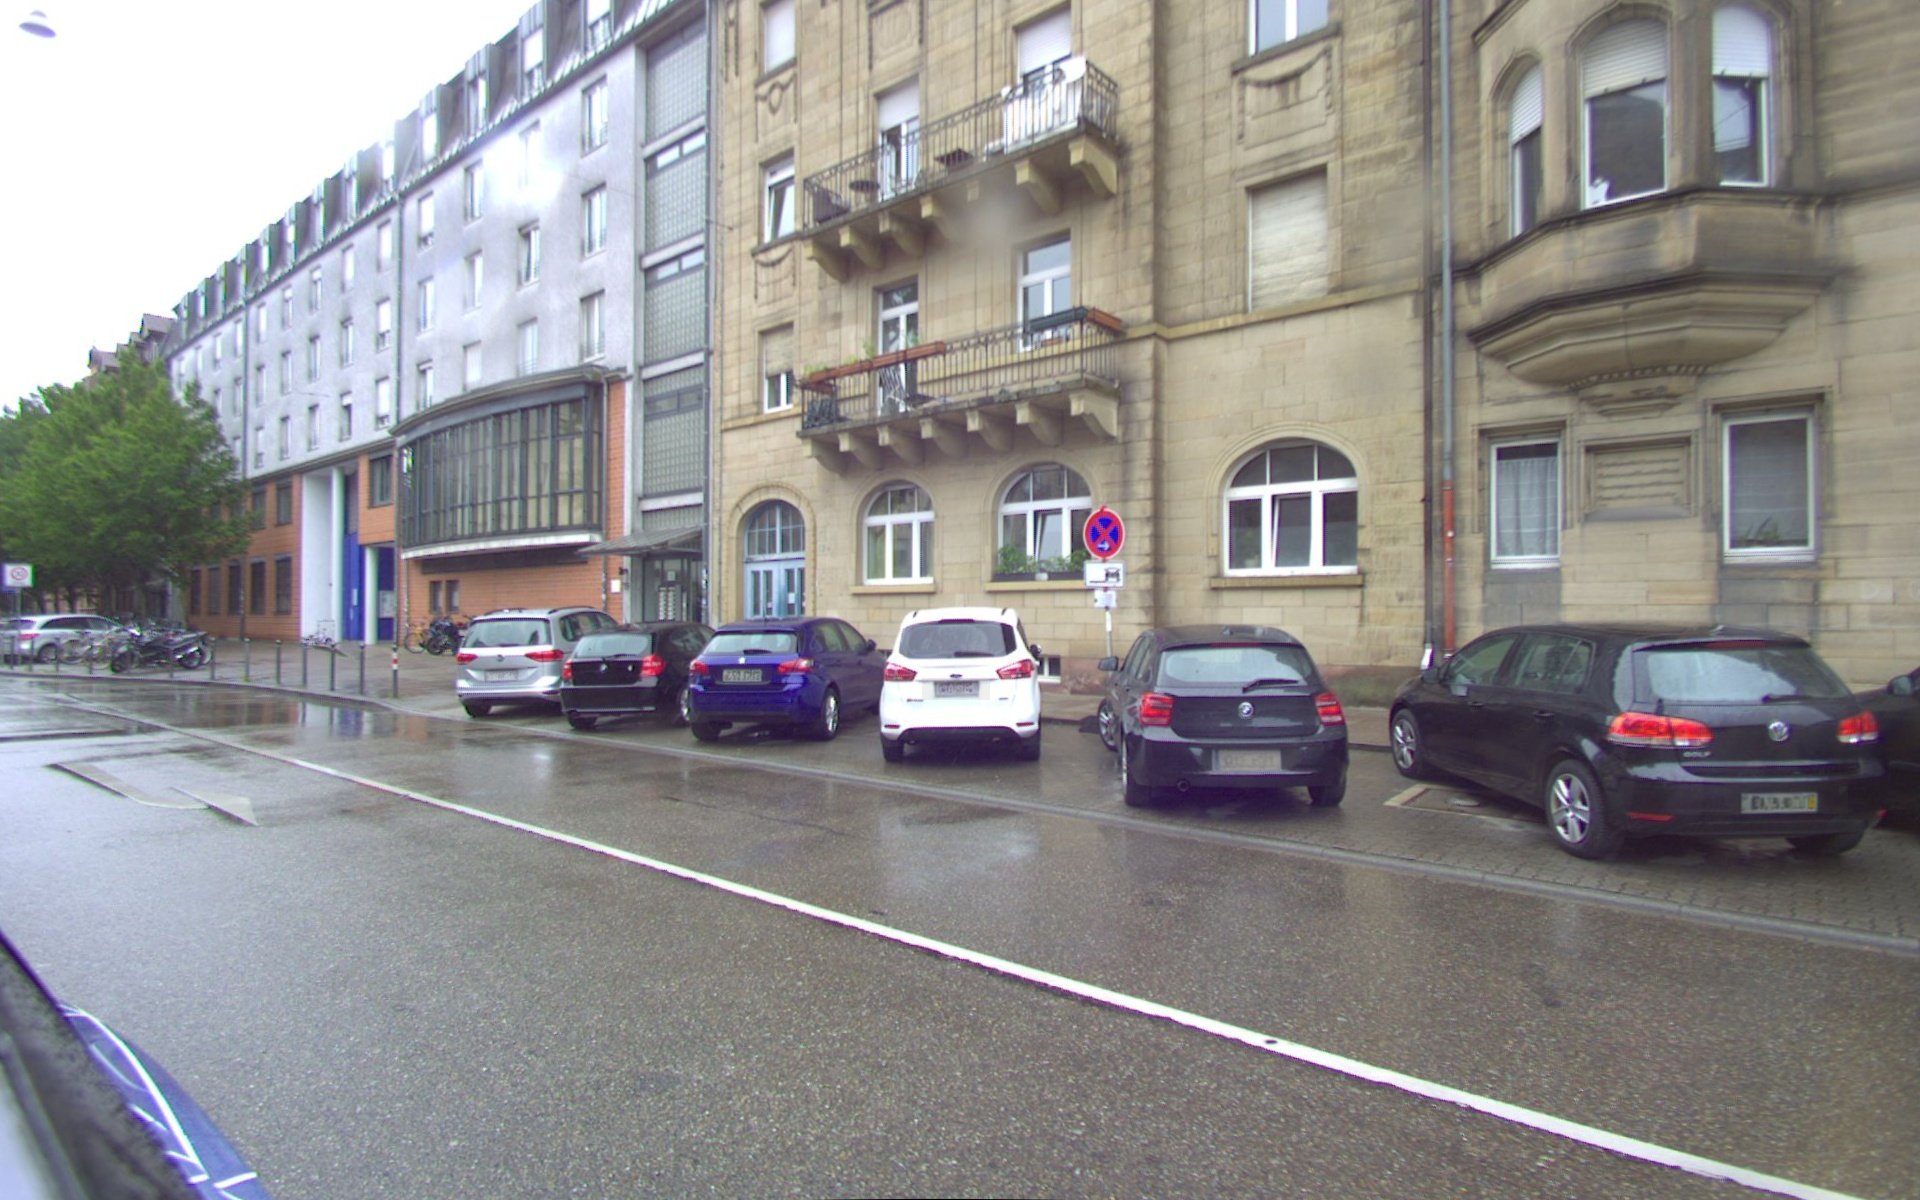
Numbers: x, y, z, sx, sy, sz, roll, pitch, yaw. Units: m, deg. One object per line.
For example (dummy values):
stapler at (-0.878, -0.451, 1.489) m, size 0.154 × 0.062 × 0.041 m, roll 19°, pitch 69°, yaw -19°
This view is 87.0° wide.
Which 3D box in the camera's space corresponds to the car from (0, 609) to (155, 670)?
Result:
car at (-28.795, 1.258, 32.684) m, size 1.981 × 1.828 × 3.981 m, roll 0°, pitch -2°, yaw 14°

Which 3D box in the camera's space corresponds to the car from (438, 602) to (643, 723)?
car at (-6.767, 0.975, 16.800) m, size 1.791 × 1.743 × 3.923 m, roll 1°, pitch -2°, yaw -1°

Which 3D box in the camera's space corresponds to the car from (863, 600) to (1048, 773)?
car at (0.039, 0.840, 11.646) m, size 1.755 × 1.639 × 3.724 m, roll -1°, pitch 0°, yaw 3°

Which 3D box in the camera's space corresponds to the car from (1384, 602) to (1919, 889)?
car at (4.750, 0.823, 7.535) m, size 1.606 × 1.555 × 3.758 m, roll -1°, pitch 0°, yaw 1°

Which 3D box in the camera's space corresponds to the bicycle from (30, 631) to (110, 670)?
bicycle at (-25.818, 1.458, 29.383) m, size 0.544 × 1.081 × 1.667 m, roll -1°, pitch -2°, yaw 38°

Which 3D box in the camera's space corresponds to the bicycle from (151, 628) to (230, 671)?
bicycle at (-21.636, 1.375, 28.486) m, size 0.544 × 1.081 × 1.667 m, roll -1°, pitch 1°, yaw 38°

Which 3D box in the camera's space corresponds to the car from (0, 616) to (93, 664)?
car at (-34.921, 1.472, 37.496) m, size 1.993 × 1.728 × 3.762 m, roll 0°, pitch -2°, yaw 31°

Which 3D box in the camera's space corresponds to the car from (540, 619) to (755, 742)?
car at (-4.391, 1.085, 14.836) m, size 1.697 × 1.539 × 3.721 m, roll 0°, pitch -2°, yaw 6°

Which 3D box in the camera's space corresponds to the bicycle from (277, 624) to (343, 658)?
bicycle at (-24.051, 1.510, 37.491) m, size 1.873 × 1.234 × 0.939 m, roll 1°, pitch -2°, yaw -23°

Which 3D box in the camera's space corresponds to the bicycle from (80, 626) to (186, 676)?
bicycle at (-21.845, 1.334, 26.770) m, size 0.772 × 1.181 × 2.024 m, roll -1°, pitch 1°, yaw 38°

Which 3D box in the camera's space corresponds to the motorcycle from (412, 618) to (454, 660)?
motorcycle at (-15.959, 1.165, 30.649) m, size 1.676 × 1.238 × 0.539 m, roll -1°, pitch -2°, yaw 41°

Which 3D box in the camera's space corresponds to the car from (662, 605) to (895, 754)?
car at (-2.199, 0.903, 13.354) m, size 1.881 × 1.539 × 3.716 m, roll 0°, pitch 2°, yaw 10°

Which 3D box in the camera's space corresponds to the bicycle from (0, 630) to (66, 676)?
bicycle at (-24.971, 1.403, 26.903) m, size 0.544 × 1.081 × 1.668 m, roll -1°, pitch 3°, yaw 38°

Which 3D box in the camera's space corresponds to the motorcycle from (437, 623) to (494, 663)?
motorcycle at (-14.282, 1.223, 29.205) m, size 2.361 × 1.110 × 0.591 m, roll -1°, pitch -2°, yaw 41°

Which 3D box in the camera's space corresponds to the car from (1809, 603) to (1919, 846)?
car at (6.950, 0.804, 5.683) m, size 1.608 × 1.555 × 3.439 m, roll -1°, pitch 0°, yaw 5°

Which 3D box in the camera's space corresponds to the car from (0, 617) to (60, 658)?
car at (-41.562, 1.606, 43.580) m, size 1.993 × 1.728 × 3.762 m, roll 0°, pitch -2°, yaw 31°

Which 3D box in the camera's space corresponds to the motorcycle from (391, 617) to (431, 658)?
motorcycle at (-17.279, 1.172, 31.822) m, size 1.676 × 1.238 × 0.539 m, roll -1°, pitch -2°, yaw 41°

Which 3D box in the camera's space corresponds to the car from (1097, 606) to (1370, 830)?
car at (2.217, 0.872, 9.175) m, size 1.757 × 1.555 × 3.721 m, roll -1°, pitch 0°, yaw 6°

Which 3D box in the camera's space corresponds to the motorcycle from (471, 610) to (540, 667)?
motorcycle at (-12.345, 1.029, 27.433) m, size 2.361 × 1.474 × 0.767 m, roll -1°, pitch -2°, yaw 41°

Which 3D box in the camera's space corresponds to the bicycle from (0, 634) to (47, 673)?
bicycle at (-27.383, 1.521, 29.001) m, size 0.544 × 1.081 × 1.667 m, roll -1°, pitch -4°, yaw 38°

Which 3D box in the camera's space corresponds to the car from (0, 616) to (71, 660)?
car at (-39.049, 1.538, 41.262) m, size 1.993 × 1.728 × 3.762 m, roll 0°, pitch -2°, yaw 31°

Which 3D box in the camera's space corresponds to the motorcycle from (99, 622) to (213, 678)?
motorcycle at (-20.915, 1.272, 26.371) m, size 0.758 × 1.320 × 2.226 m, roll -1°, pitch 0°, yaw 41°

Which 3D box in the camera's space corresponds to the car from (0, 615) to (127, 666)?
car at (-32.270, 1.422, 35.870) m, size 1.993 × 1.728 × 3.762 m, roll 0°, pitch -2°, yaw 31°

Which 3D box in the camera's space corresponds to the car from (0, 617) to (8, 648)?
car at (-53.571, 1.712, 53.886) m, size 1.899 × 1.728 × 3.762 m, roll 0°, pitch -2°, yaw 31°

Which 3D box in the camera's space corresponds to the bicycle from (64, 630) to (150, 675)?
bicycle at (-22.828, 1.387, 27.094) m, size 0.544 × 1.081 × 1.667 m, roll -1°, pitch 1°, yaw 38°

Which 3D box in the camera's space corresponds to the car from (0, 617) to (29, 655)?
car at (-44.883, 1.626, 45.672) m, size 1.993 × 1.728 × 3.762 m, roll 0°, pitch -2°, yaw 31°
